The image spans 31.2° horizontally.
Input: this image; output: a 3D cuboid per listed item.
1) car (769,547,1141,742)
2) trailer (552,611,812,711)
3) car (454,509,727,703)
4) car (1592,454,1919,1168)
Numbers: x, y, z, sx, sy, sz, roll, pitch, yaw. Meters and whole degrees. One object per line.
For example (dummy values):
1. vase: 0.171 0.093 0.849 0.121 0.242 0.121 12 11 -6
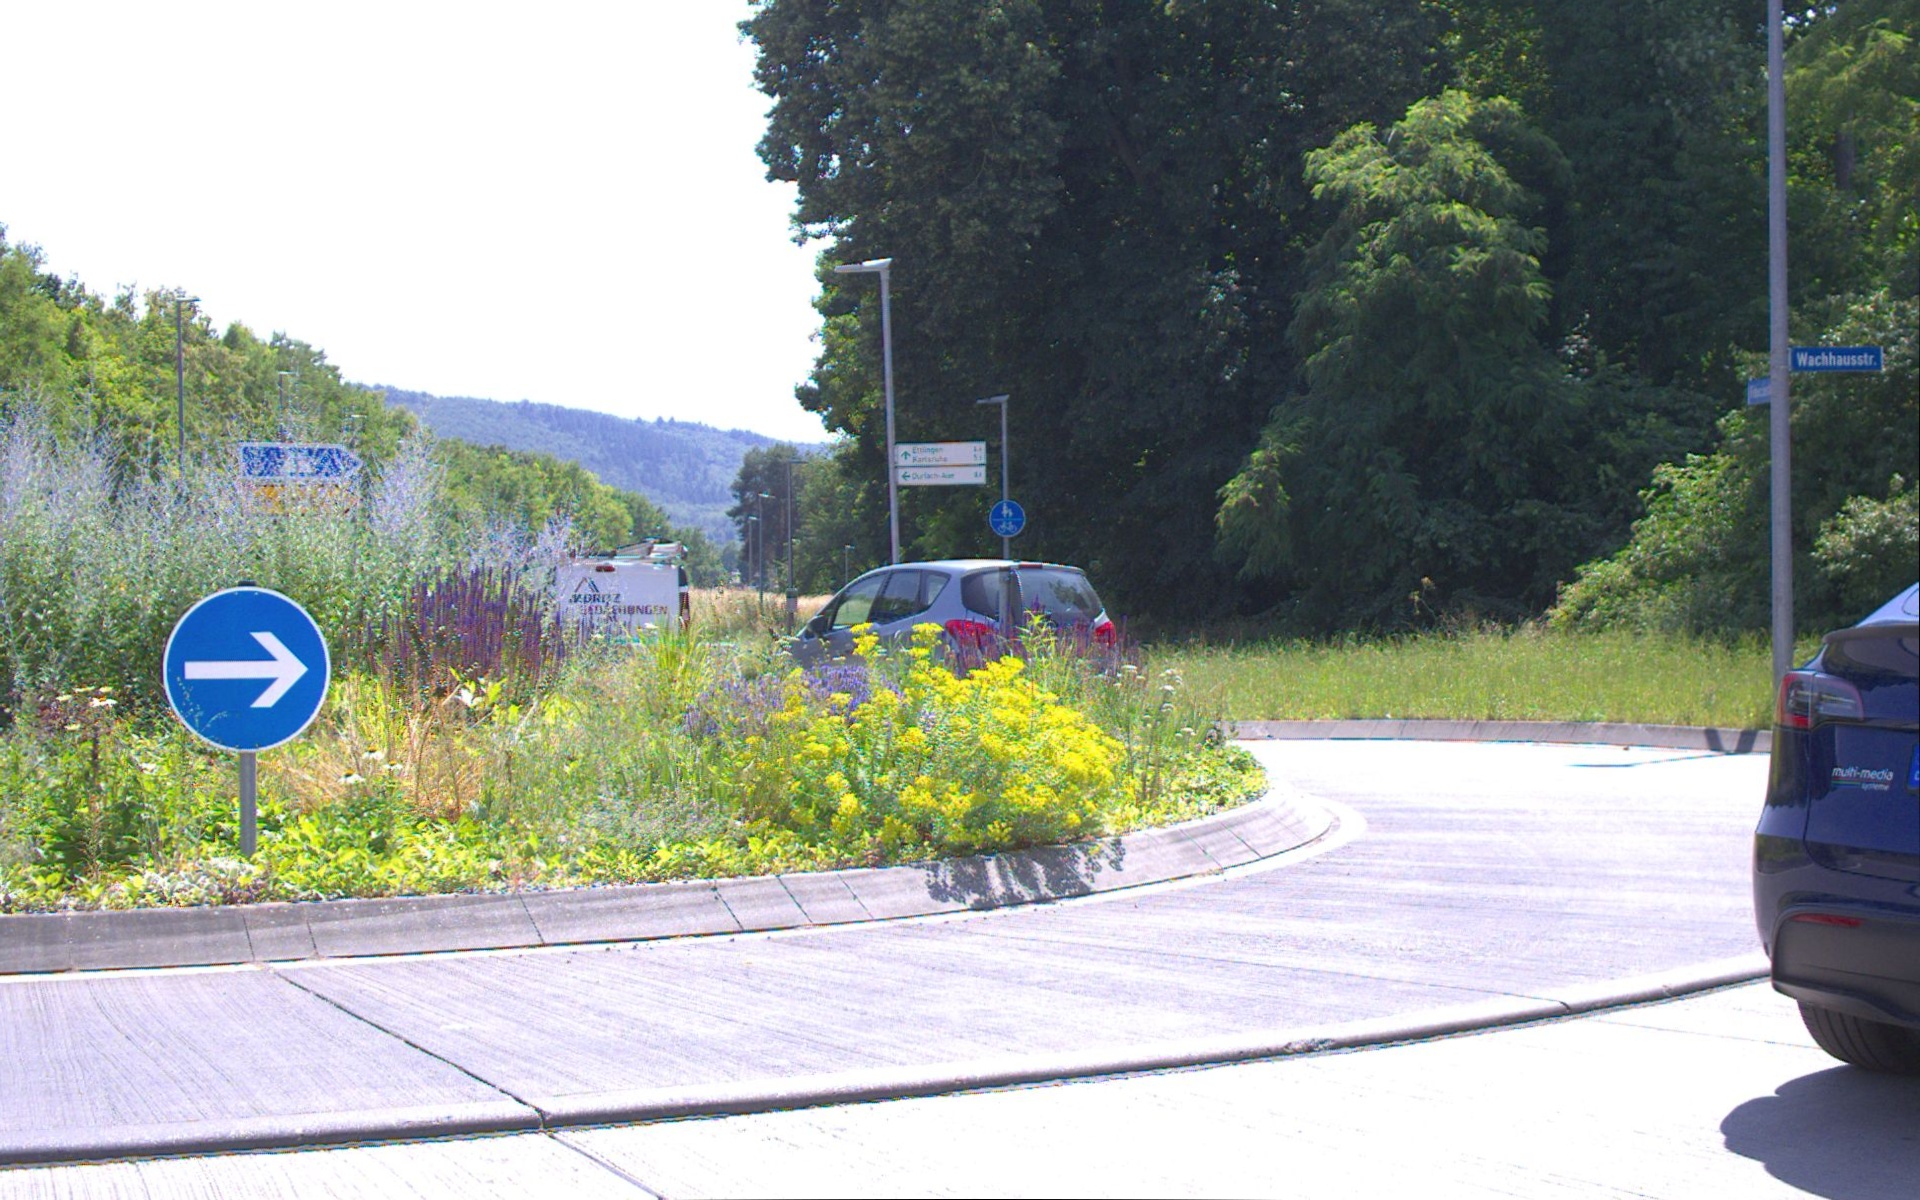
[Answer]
1. car: -0.124 0.370 30.470 1.784 1.601 4.128 0 0 -24
2. trailer: -3.266 0.681 39.824 2.121 1.093 3.355 0 0 -22
3. car: -4.764 0.075 43.657 2.165 2.308 4.982 0 0 -22
4. car: 4.027 0.456 9.371 4.744 1.634 1.999 -1 1 -41
